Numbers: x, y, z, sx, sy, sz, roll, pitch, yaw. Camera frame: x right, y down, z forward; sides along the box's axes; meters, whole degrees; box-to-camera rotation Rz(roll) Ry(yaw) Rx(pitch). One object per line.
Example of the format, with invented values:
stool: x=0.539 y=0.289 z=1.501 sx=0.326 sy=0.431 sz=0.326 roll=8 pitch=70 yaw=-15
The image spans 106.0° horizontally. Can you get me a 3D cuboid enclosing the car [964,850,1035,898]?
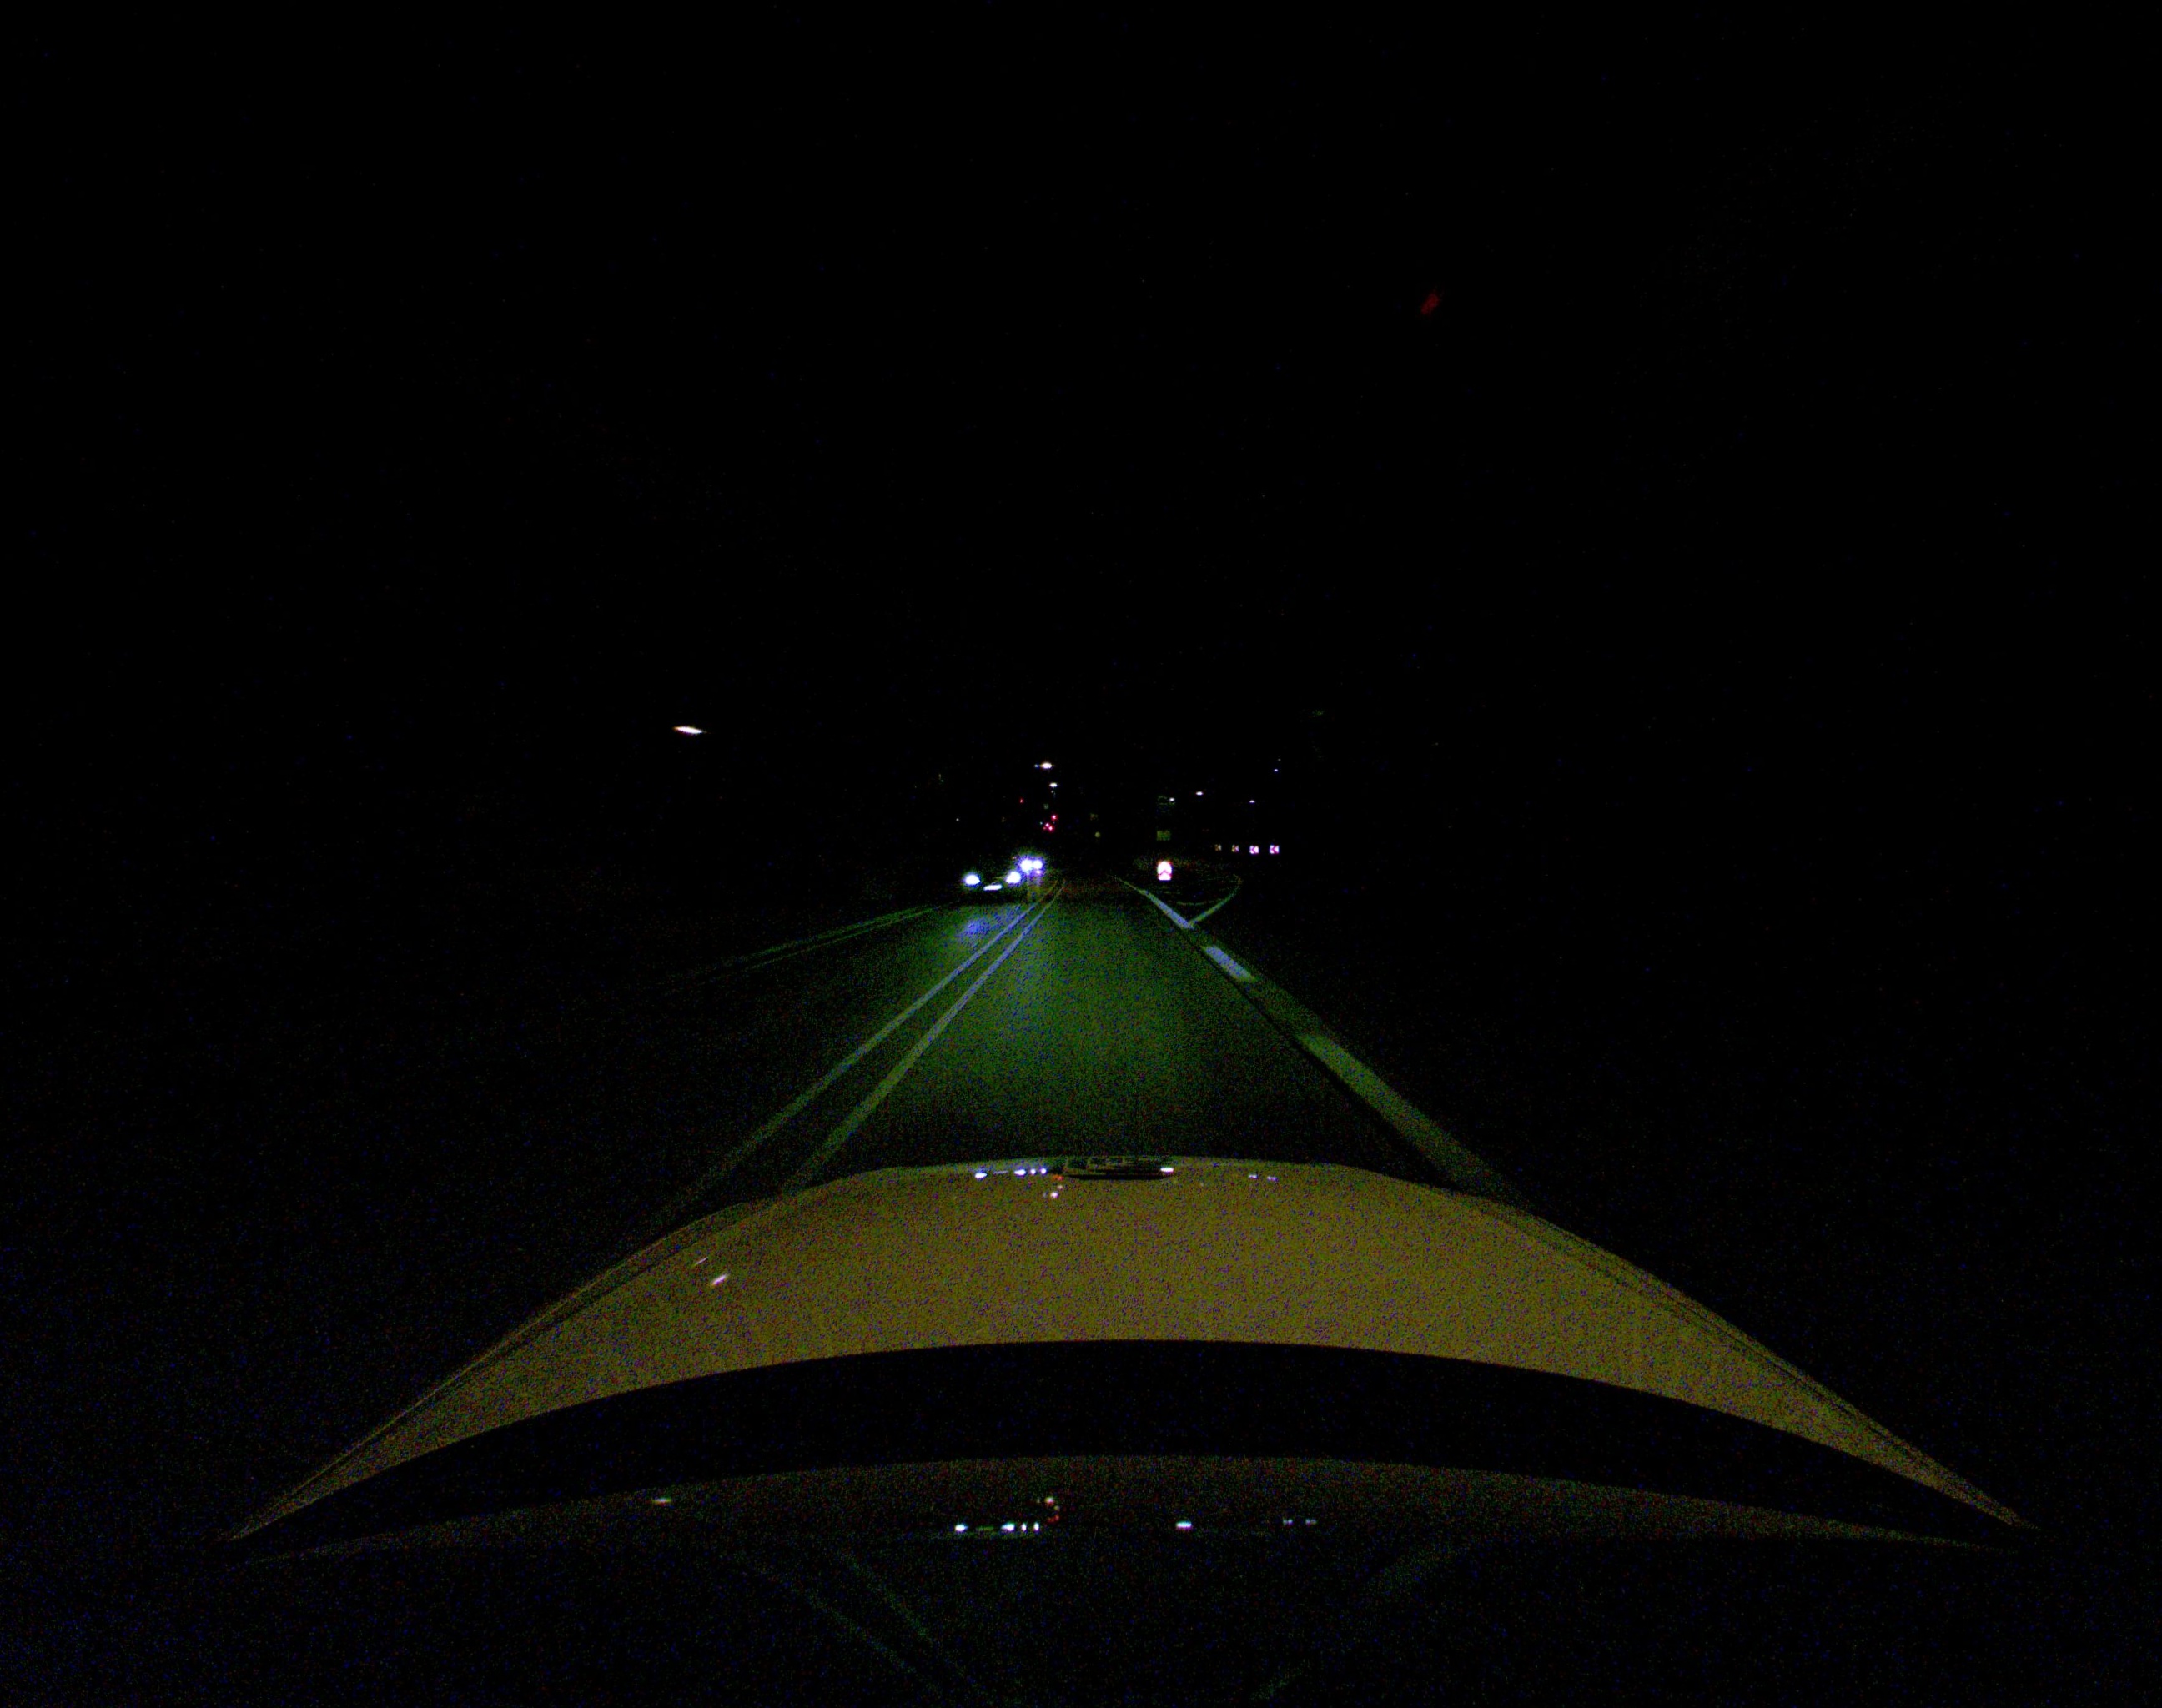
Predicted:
car: x=-2.913 y=0.717 z=29.886 sx=1.873 sy=1.554 sz=4.221 roll=-2 pitch=-1 yaw=4

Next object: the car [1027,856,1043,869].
car: x=-5.458 y=1.066 z=97.266 sx=1.783 sy=1.447 sz=4.169 roll=-1 pitch=-1 yaw=-1
